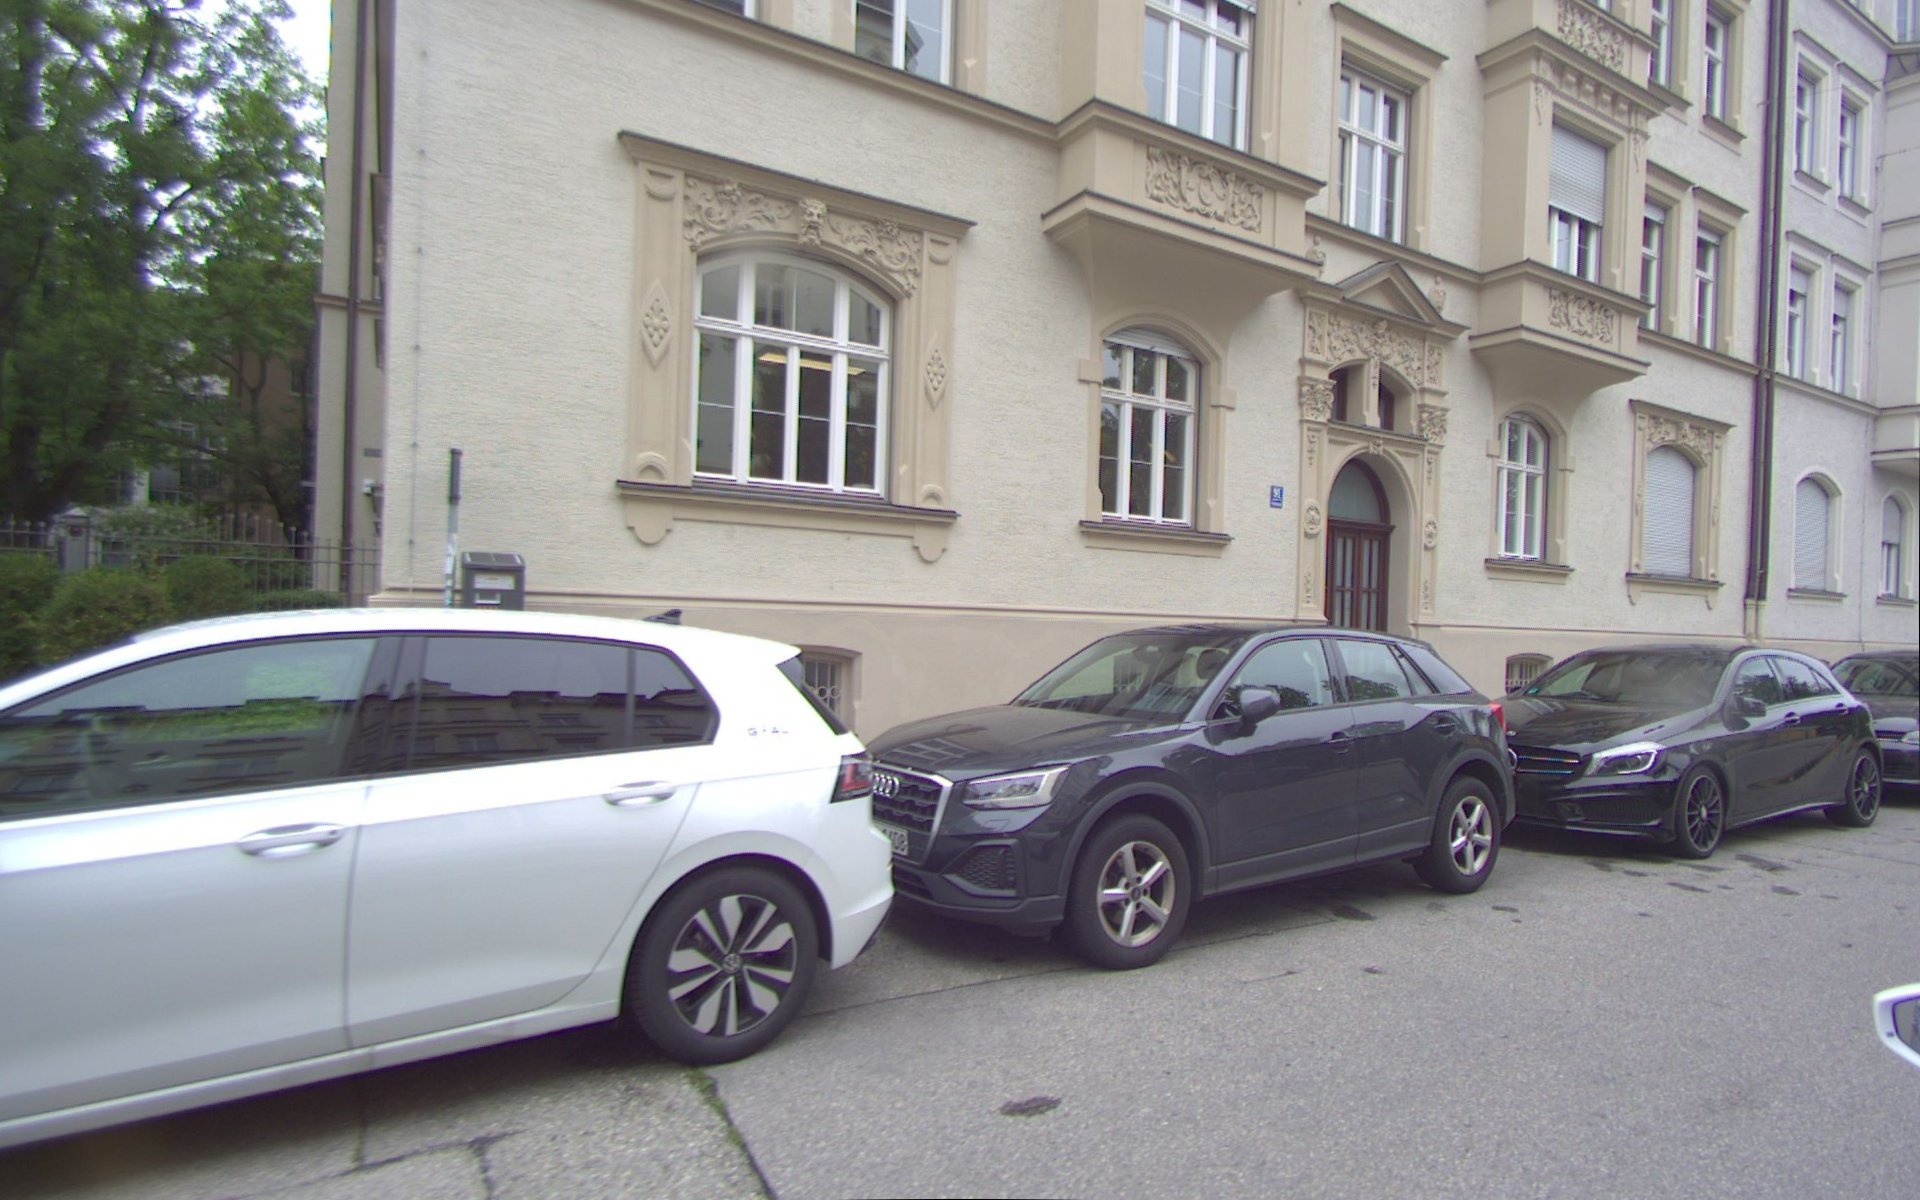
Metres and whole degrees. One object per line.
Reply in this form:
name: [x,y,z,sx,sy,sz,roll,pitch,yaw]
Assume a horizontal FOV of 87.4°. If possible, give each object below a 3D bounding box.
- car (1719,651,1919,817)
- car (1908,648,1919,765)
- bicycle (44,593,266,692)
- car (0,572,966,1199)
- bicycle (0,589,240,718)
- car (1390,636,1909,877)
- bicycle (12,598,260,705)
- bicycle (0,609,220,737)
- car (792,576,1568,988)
car: [9.996,1.287,10.483,4.195,1.454,1.828,2,-3,-30]
car: [14.640,1.442,13.477,3.971,1.519,1.745,2,-3,-30]
bicycle: [-8.756,0.434,11.022,1.809,1.011,0.551,0,1,-28]
car: [-2.235,0.699,3.225,4.198,1.453,1.826,2,-2,-32]
bicycle: [-8.030,0.474,9.574,1.796,1.107,0.610,-1,3,-28]
car: [5.672,1.061,8.111,4.503,1.453,1.824,2,-2,-32]
bicycle: [-8.398,0.498,10.349,1.883,1.017,0.582,0,2,-28]
bicycle: [-7.559,0.594,8.491,1.983,0.973,0.691,-1,4,-28]
car: [1.410,0.792,5.703,4.337,1.538,1.761,2,-4,-33]
